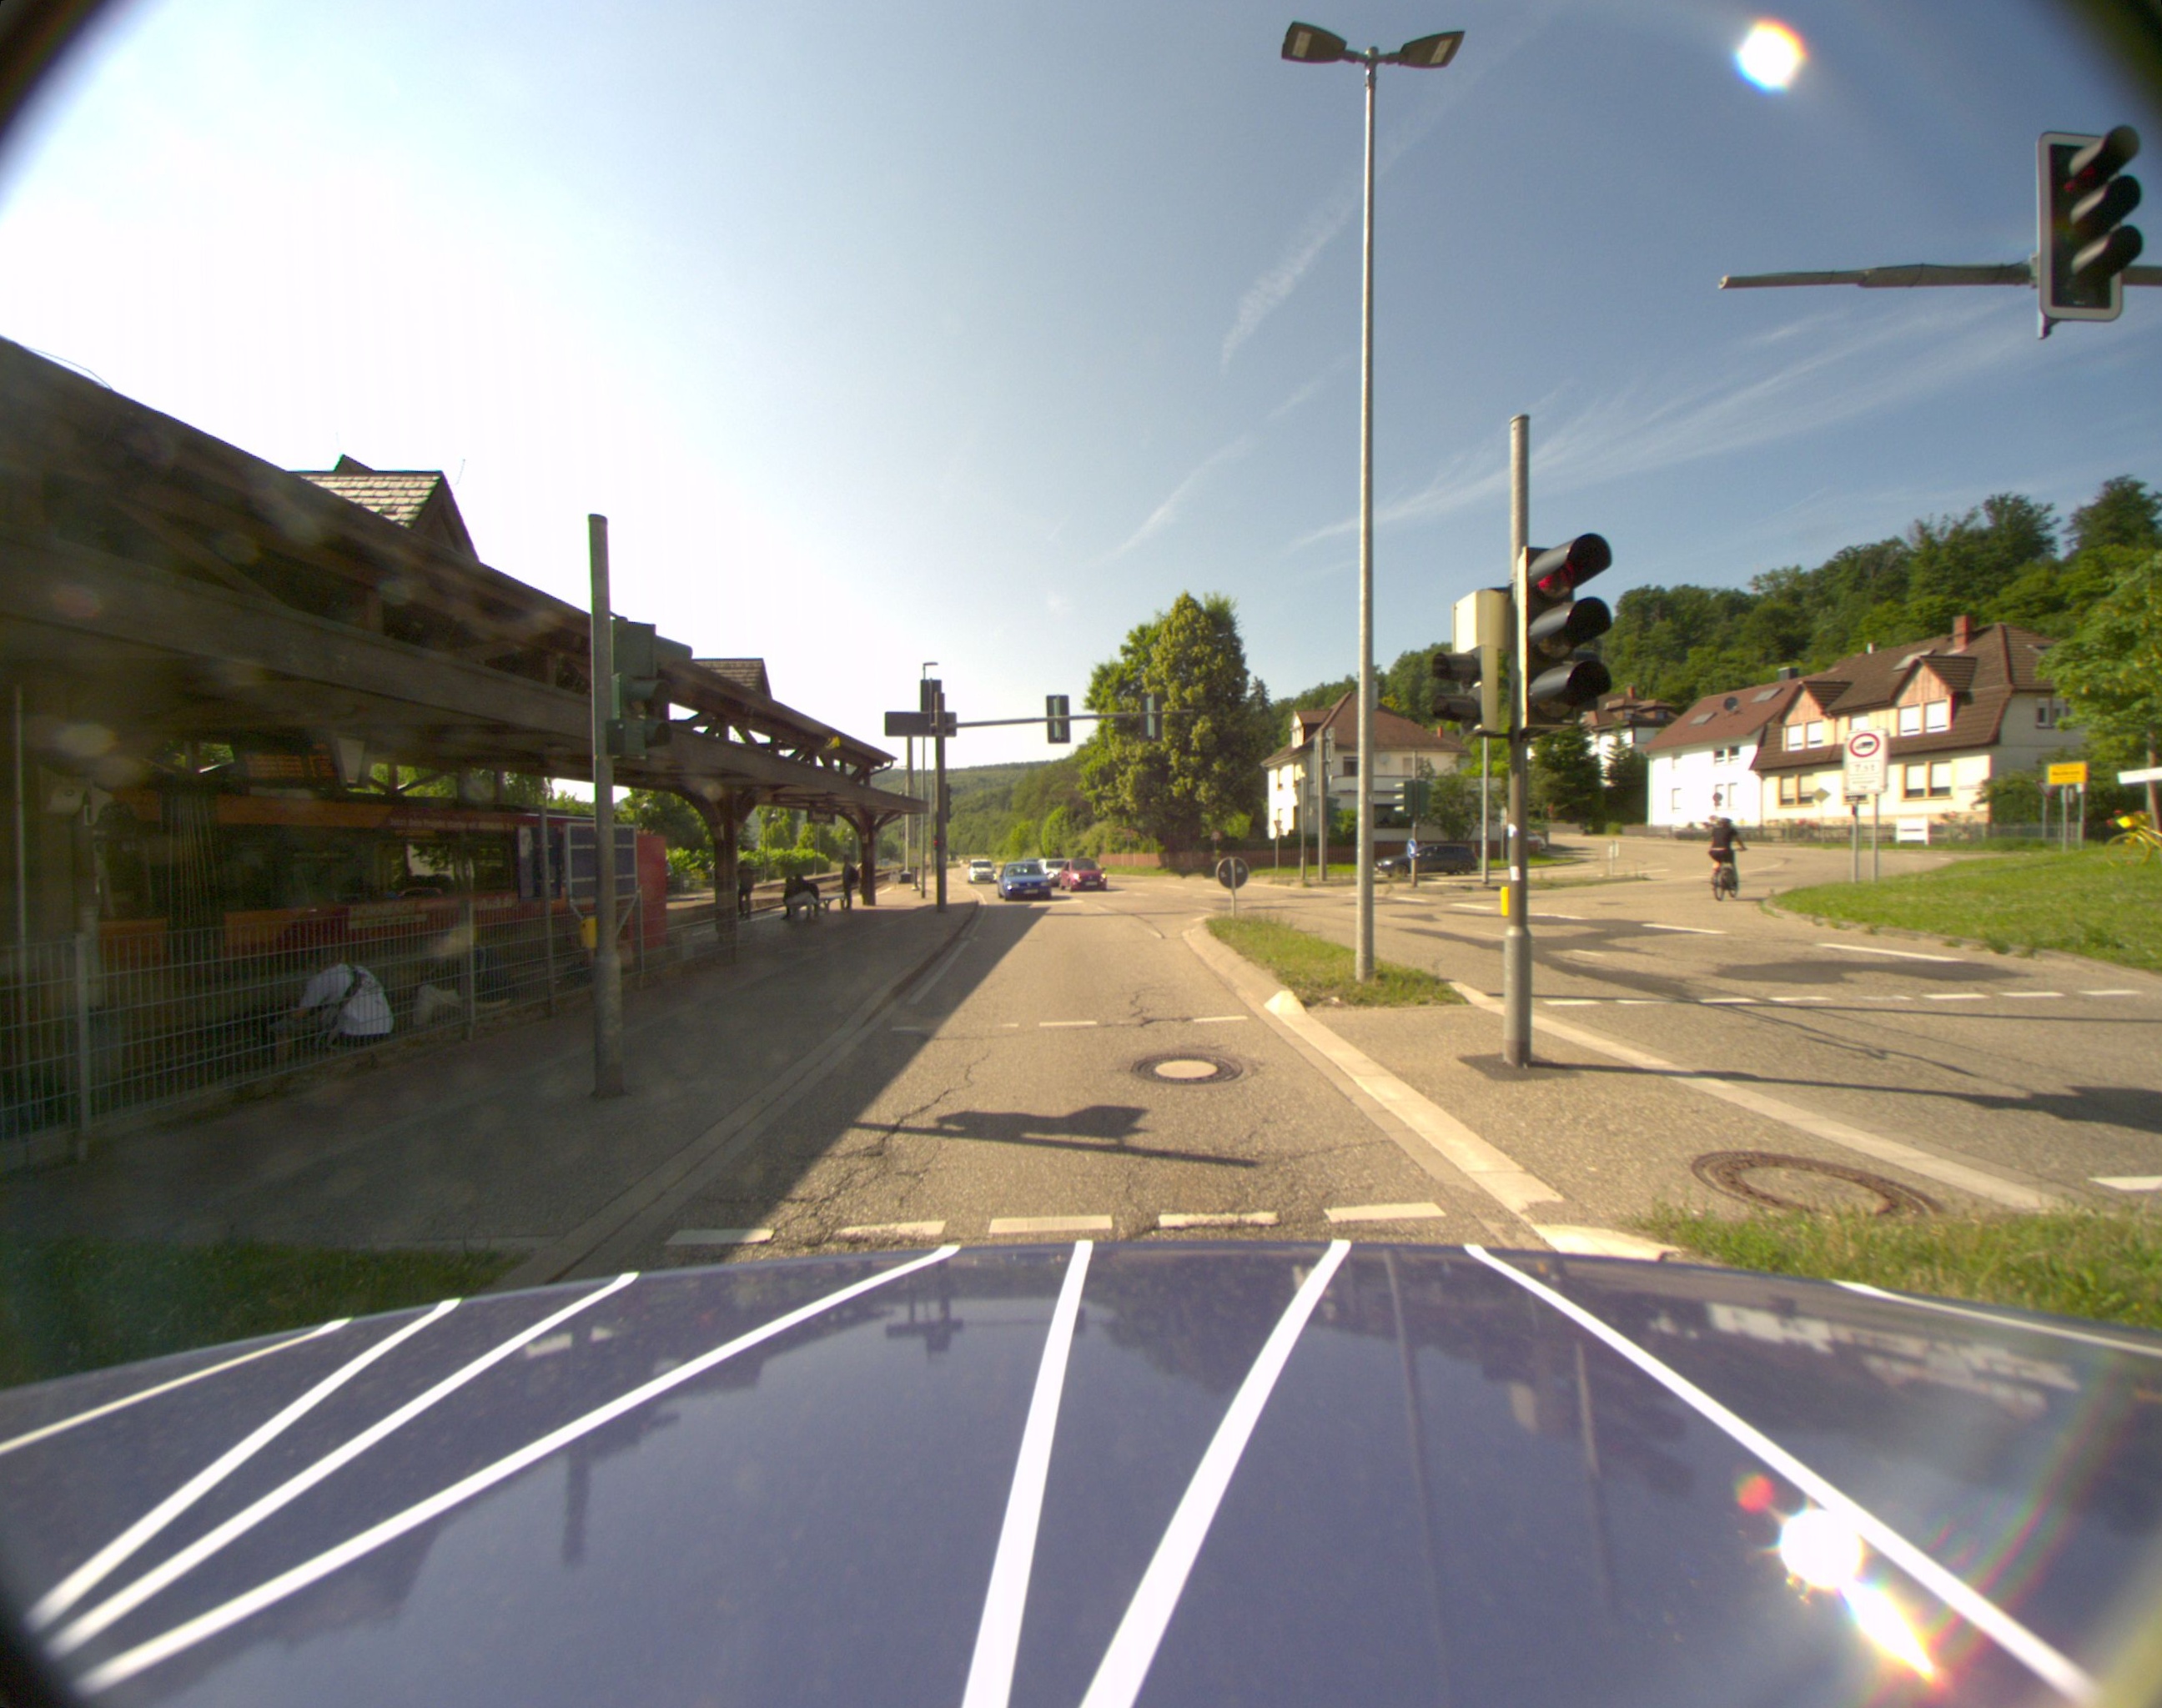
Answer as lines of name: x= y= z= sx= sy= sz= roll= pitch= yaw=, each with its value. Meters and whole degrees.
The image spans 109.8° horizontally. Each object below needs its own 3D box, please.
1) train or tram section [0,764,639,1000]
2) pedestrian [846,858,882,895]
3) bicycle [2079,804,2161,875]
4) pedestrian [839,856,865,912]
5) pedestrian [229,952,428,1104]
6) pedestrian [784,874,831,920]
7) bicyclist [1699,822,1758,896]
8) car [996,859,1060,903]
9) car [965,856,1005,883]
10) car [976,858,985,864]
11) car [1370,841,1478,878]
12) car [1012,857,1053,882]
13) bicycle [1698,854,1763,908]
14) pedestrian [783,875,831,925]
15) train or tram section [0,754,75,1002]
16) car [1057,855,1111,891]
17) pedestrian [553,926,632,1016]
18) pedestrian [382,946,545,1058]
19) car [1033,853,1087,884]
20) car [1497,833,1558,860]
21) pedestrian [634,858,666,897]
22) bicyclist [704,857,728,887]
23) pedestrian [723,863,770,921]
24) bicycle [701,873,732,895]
train or tram section: x=-16.056 y=0.407 z=17.999 sx=2.863 sy=3.345 sz=14.352 roll=-2 pitch=0 yaw=-1
pedestrian: x=-10.292 y=1.060 z=36.045 sx=1.248 sy=1.726 sz=0.918 roll=-3 pitch=-1 yaw=22
bicycle: x=19.529 y=-0.275 z=13.727 sx=0.620 sy=1.247 sz=1.758 roll=-5 pitch=-3 yaw=6
pedestrian: x=-7.013 y=0.898 z=23.261 sx=0.659 sy=1.682 sz=0.738 roll=-1 pitch=1 yaw=-9
pedestrian: x=-5.776 y=1.307 z=5.885 sx=0.744 sy=0.976 sz=0.769 roll=-3 pitch=-1 yaw=-3
pedestrian: x=-7.399 y=1.143 z=20.590 sx=1.010 sy=1.153 sz=0.948 roll=-1 pitch=1 yaw=-9
bicyclist: x=15.128 y=0.122 z=17.741 sx=0.995 sy=1.681 sz=0.805 roll=-2 pitch=-1 yaw=-38
car: x=-2.097 y=0.964 z=28.880 sx=1.867 sy=1.474 sz=4.297 roll=-1 pitch=0 yaw=-11
car: x=-6.118 y=0.947 z=48.054 sx=2.001 sy=1.575 sz=3.996 roll=-3 pitch=0 yaw=-13
car: x=-31.223 y=2.112 z=236.347 sx=2.001 sy=1.674 sz=3.995 roll=-2 pitch=-1 yaw=-16
car: x=15.641 y=0.258 z=34.814 sx=3.996 sy=1.499 sz=2.001 roll=-3 pitch=-1 yaw=3
car: x=-3.184 y=1.016 z=49.374 sx=1.981 sy=1.495 sz=3.983 roll=-2 pitch=-1 yaw=-13
bicycle: x=15.225 y=0.621 z=17.800 sx=2.003 sy=1.155 sz=0.733 roll=-2 pitch=-1 yaw=-38
pedestrian: x=-6.986 y=1.162 z=19.407 sx=0.994 sy=1.228 sz=0.596 roll=-2 pitch=-1 yaw=-10
train or tram section: x=-15.992 y=0.427 z=4.895 sx=2.793 sy=3.345 sz=12.046 roll=-2 pitch=1 yaw=0
car: x=0.058 y=0.844 z=34.636 sx=1.662 sy=1.525 sz=3.951 roll=-1 pitch=0 yaw=-12
pedestrian: x=-5.684 y=1.354 z=8.856 sx=0.619 sy=0.960 sz=0.406 roll=-3 pitch=-1 yaw=-3
pedestrian: x=-5.772 y=1.358 z=7.153 sx=0.847 sy=0.869 sz=0.808 roll=-3 pitch=-1 yaw=-3
car: x=-1.198 y=0.768 z=40.728 sx=1.981 sy=1.495 sz=4.746 roll=-2 pitch=-1 yaw=-13
car: x=29.727 y=-0.454 z=50.743 sx=1.938 sy=1.627 sz=4.002 roll=-3 pitch=-1 yaw=6
pedestrian: x=-18.948 y=1.034 z=33.381 sx=0.901 sy=1.674 sz=0.824 roll=-3 pitch=-1 yaw=31
bicyclist: x=-21.815 y=1.095 z=45.443 sx=1.010 sy=1.716 sz=0.866 roll=-2 pitch=-1 yaw=-6
pedestrian: x=-9.107 y=1.019 z=20.724 sx=0.863 sy=1.538 sz=0.922 roll=-1 pitch=-1 yaw=-1
bicycle: x=-21.786 y=1.801 z=45.452 sx=0.873 sy=1.246 sz=2.295 roll=-2 pitch=-1 yaw=-6
